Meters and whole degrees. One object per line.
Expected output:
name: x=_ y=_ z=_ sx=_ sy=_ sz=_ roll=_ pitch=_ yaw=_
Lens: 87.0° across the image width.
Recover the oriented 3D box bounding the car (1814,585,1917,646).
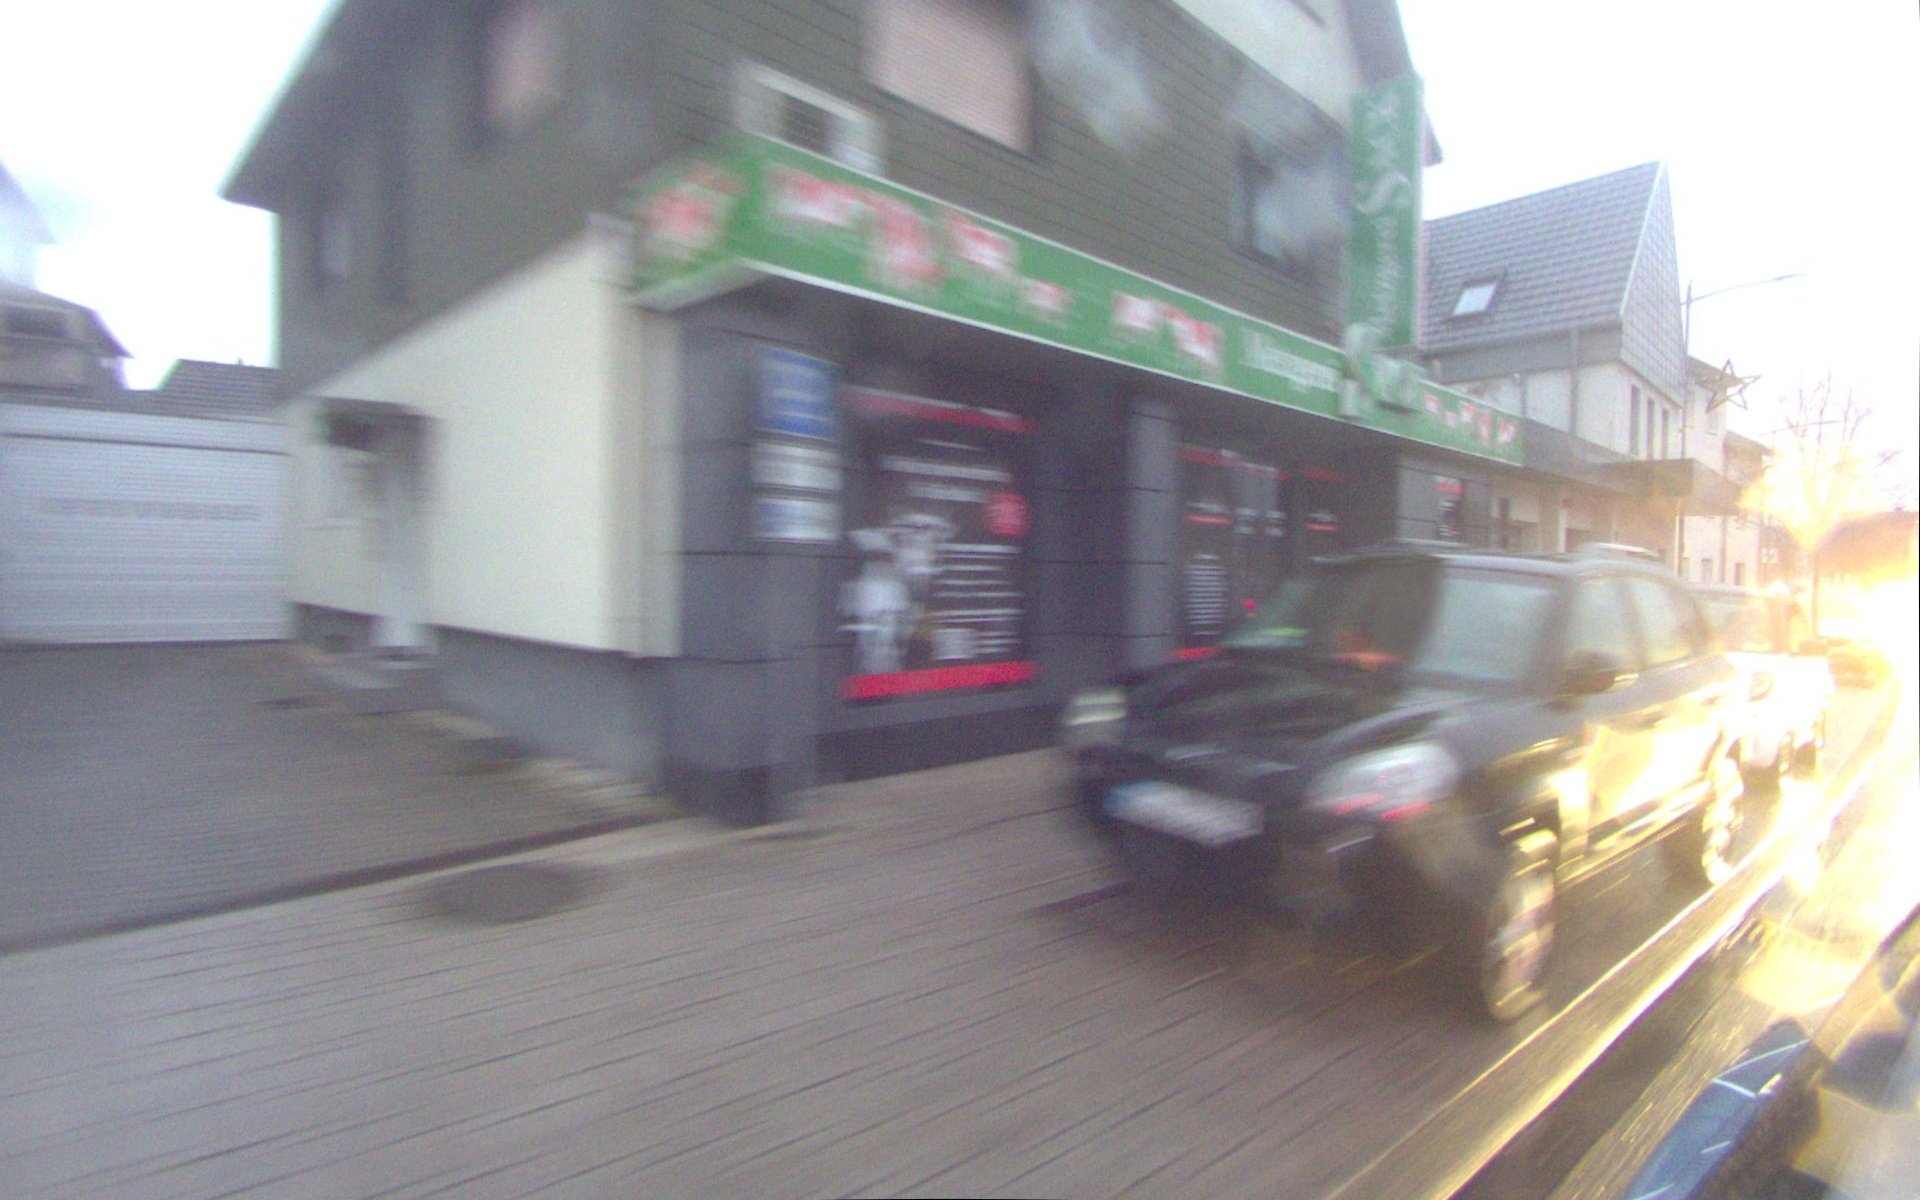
car: x=24.891 y=0.379 z=27.920 sx=1.954 sy=1.552 sz=4.935 roll=-1 pitch=0 yaw=41

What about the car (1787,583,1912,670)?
car: x=17.774 y=0.444 z=20.169 sx=1.653 sy=1.472 sz=4.172 roll=5 pitch=4 yaw=43

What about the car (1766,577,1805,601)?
car: x=67.386 y=-0.893 z=82.662 sx=1.903 sy=1.812 sz=4.513 roll=2 pitch=2 yaw=33

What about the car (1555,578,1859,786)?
car: x=6.622 y=0.590 z=8.911 sx=2.682 sy=1.432 sz=1.648 roll=0 pitch=4 yaw=-44

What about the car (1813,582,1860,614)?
car: x=46.990 y=-0.149 z=54.318 sx=1.805 sy=1.583 sz=4.242 roll=2 pitch=2 yaw=40

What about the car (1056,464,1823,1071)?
car: x=2.528 y=0.436 z=4.921 sx=3.928 sy=1.803 sz=1.774 roll=0 pitch=4 yaw=-39

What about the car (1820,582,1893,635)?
car: x=29.256 y=0.220 z=33.091 sx=1.663 sy=1.595 sz=4.430 roll=2 pitch=2 yaw=41

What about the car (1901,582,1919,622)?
car: x=41.710 y=0.038 z=43.326 sx=1.899 sy=1.661 sz=4.498 roll=-2 pitch=-1 yaw=41
